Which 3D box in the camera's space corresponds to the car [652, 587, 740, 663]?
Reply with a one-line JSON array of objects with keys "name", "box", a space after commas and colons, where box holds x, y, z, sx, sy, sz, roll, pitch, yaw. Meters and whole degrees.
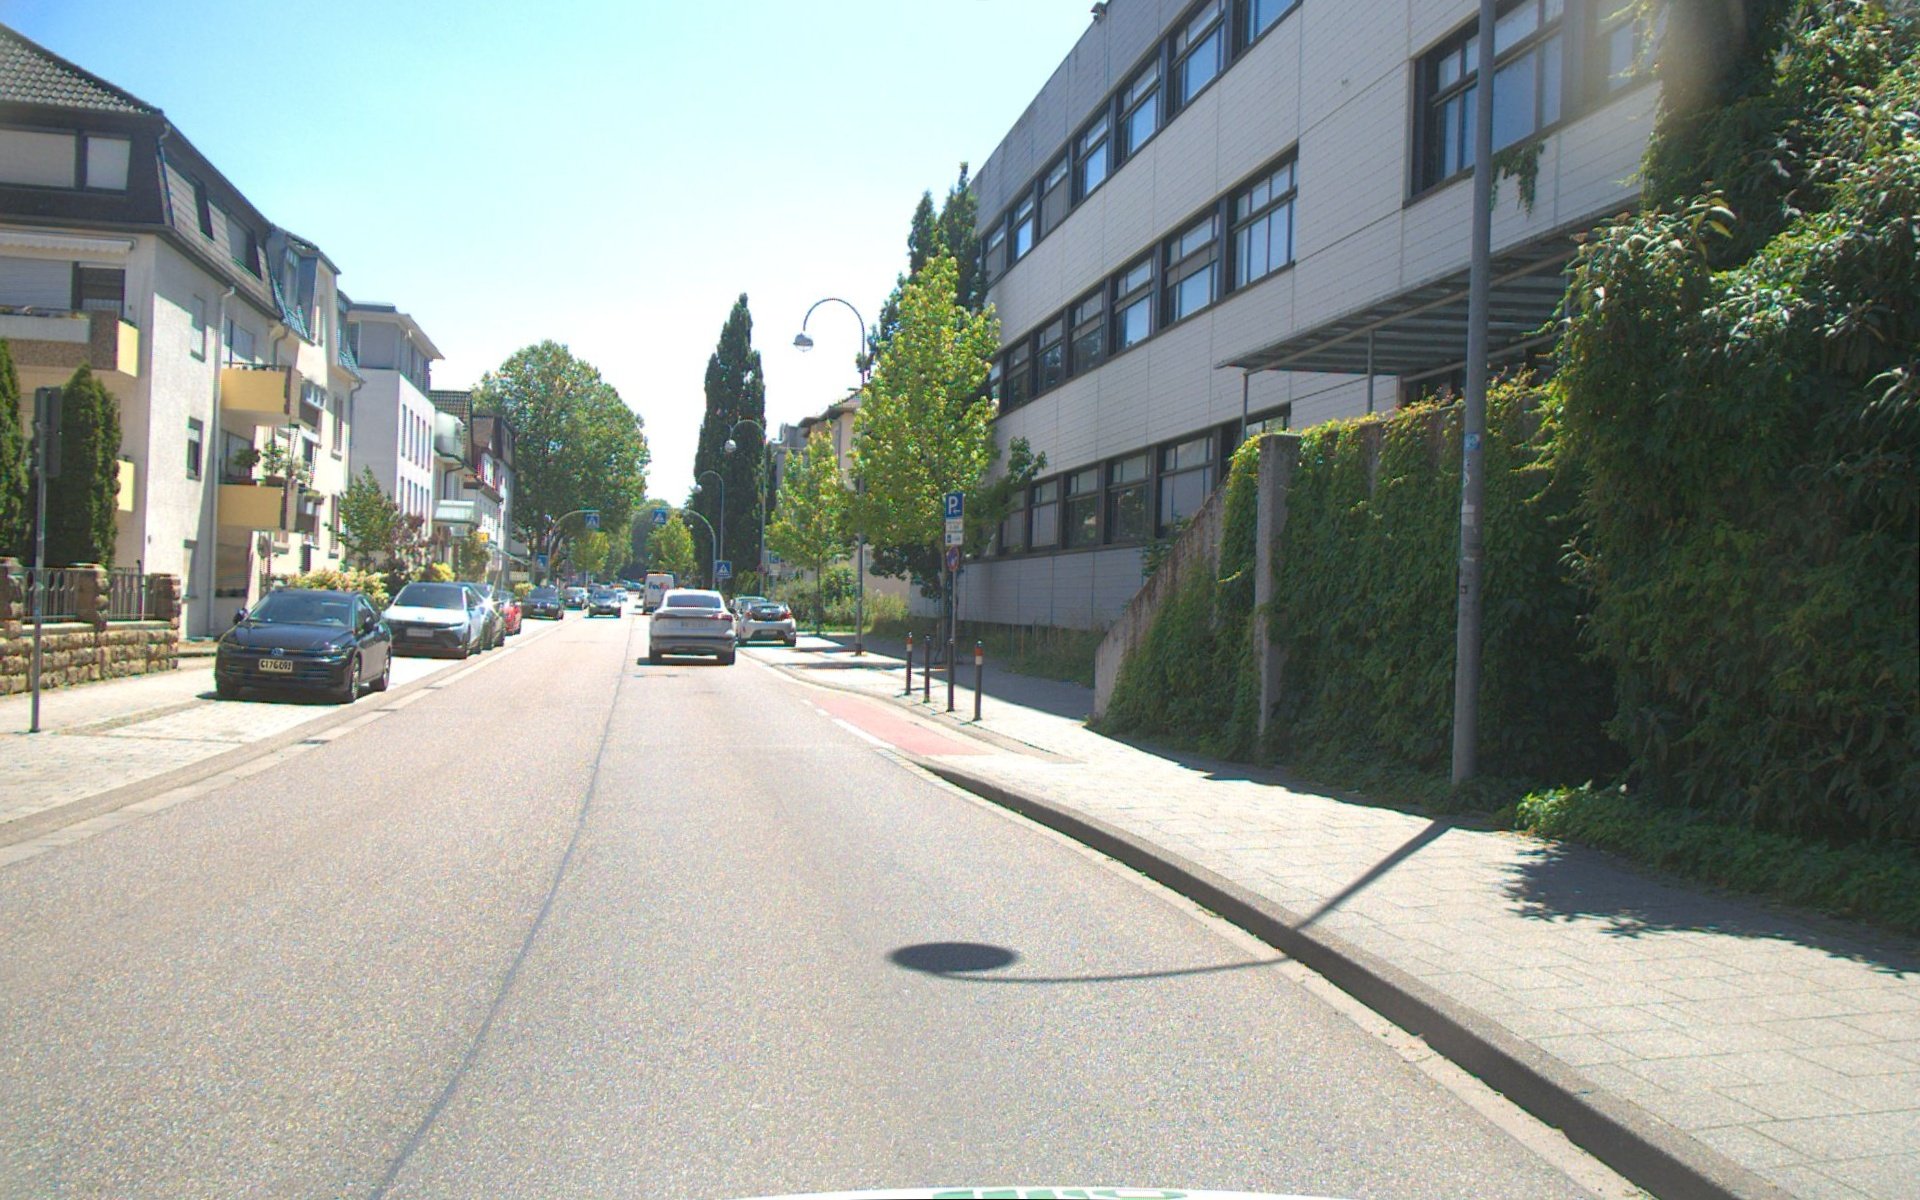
[{"name": "car", "box": [-6.138, 0.513, 38.135, 1.901, 1.642, 4.460, 0, 0, -11]}]

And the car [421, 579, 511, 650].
[{"name": "car", "box": [-12.958, 0.349, 43.614, 1.694, 1.647, 4.559, 4, 0, -11]}]

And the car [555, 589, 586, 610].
[{"name": "car", "box": [-26.939, -0.040, 114.361, 1.958, 1.373, 3.988, 1, 0, -12]}]

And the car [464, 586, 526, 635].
[{"name": "car", "box": [-15.387, 0.319, 54.862, 1.621, 1.443, 3.894, 4, 0, -12]}]

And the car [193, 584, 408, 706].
[{"name": "car", "box": [-9.282, 0.574, 23.686, 1.891, 1.461, 4.647, 4, 0, -11]}]

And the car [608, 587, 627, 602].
[{"name": "car", "box": [-36.641, -0.603, 177.153, 1.944, 1.546, 3.988, 1, 0, -12]}]

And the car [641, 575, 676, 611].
[{"name": "car", "box": [-19.492, -0.476, 106.825, 2.034, 2.235, 5.122, 0, 1, -13]}]

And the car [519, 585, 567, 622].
[{"name": "car", "box": [-20.482, 0.144, 81.335, 1.890, 1.750, 4.462, 1, 0, -9]}]

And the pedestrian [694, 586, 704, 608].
[{"name": "pedestrian", "box": [-21.168, -0.234, 134.286, 0.682, 1.767, 0.665, 1, 0, -16]}]

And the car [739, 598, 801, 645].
[{"name": "car", "box": [-6.162, 0.670, 53.328, 1.828, 1.397, 3.992, 1, 0, -9]}]

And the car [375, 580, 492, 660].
[{"name": "car", "box": [-12.004, 0.412, 37.982, 1.891, 1.600, 4.647, 4, 0, -11]}]

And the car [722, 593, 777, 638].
[{"name": "car", "box": [-7.545, 0.529, 59.073, 1.629, 1.514, 4.333, 0, 0, -12]}]

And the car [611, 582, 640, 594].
[{"name": "car", "box": [-47.886, -1.718, 236.807, 3.908, 1.680, 1.998, 1, 0, -5]}]

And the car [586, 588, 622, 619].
[{"name": "car", "box": [-19.887, 0.177, 92.422, 1.939, 1.700, 4.458, 1, 0, -12]}]
